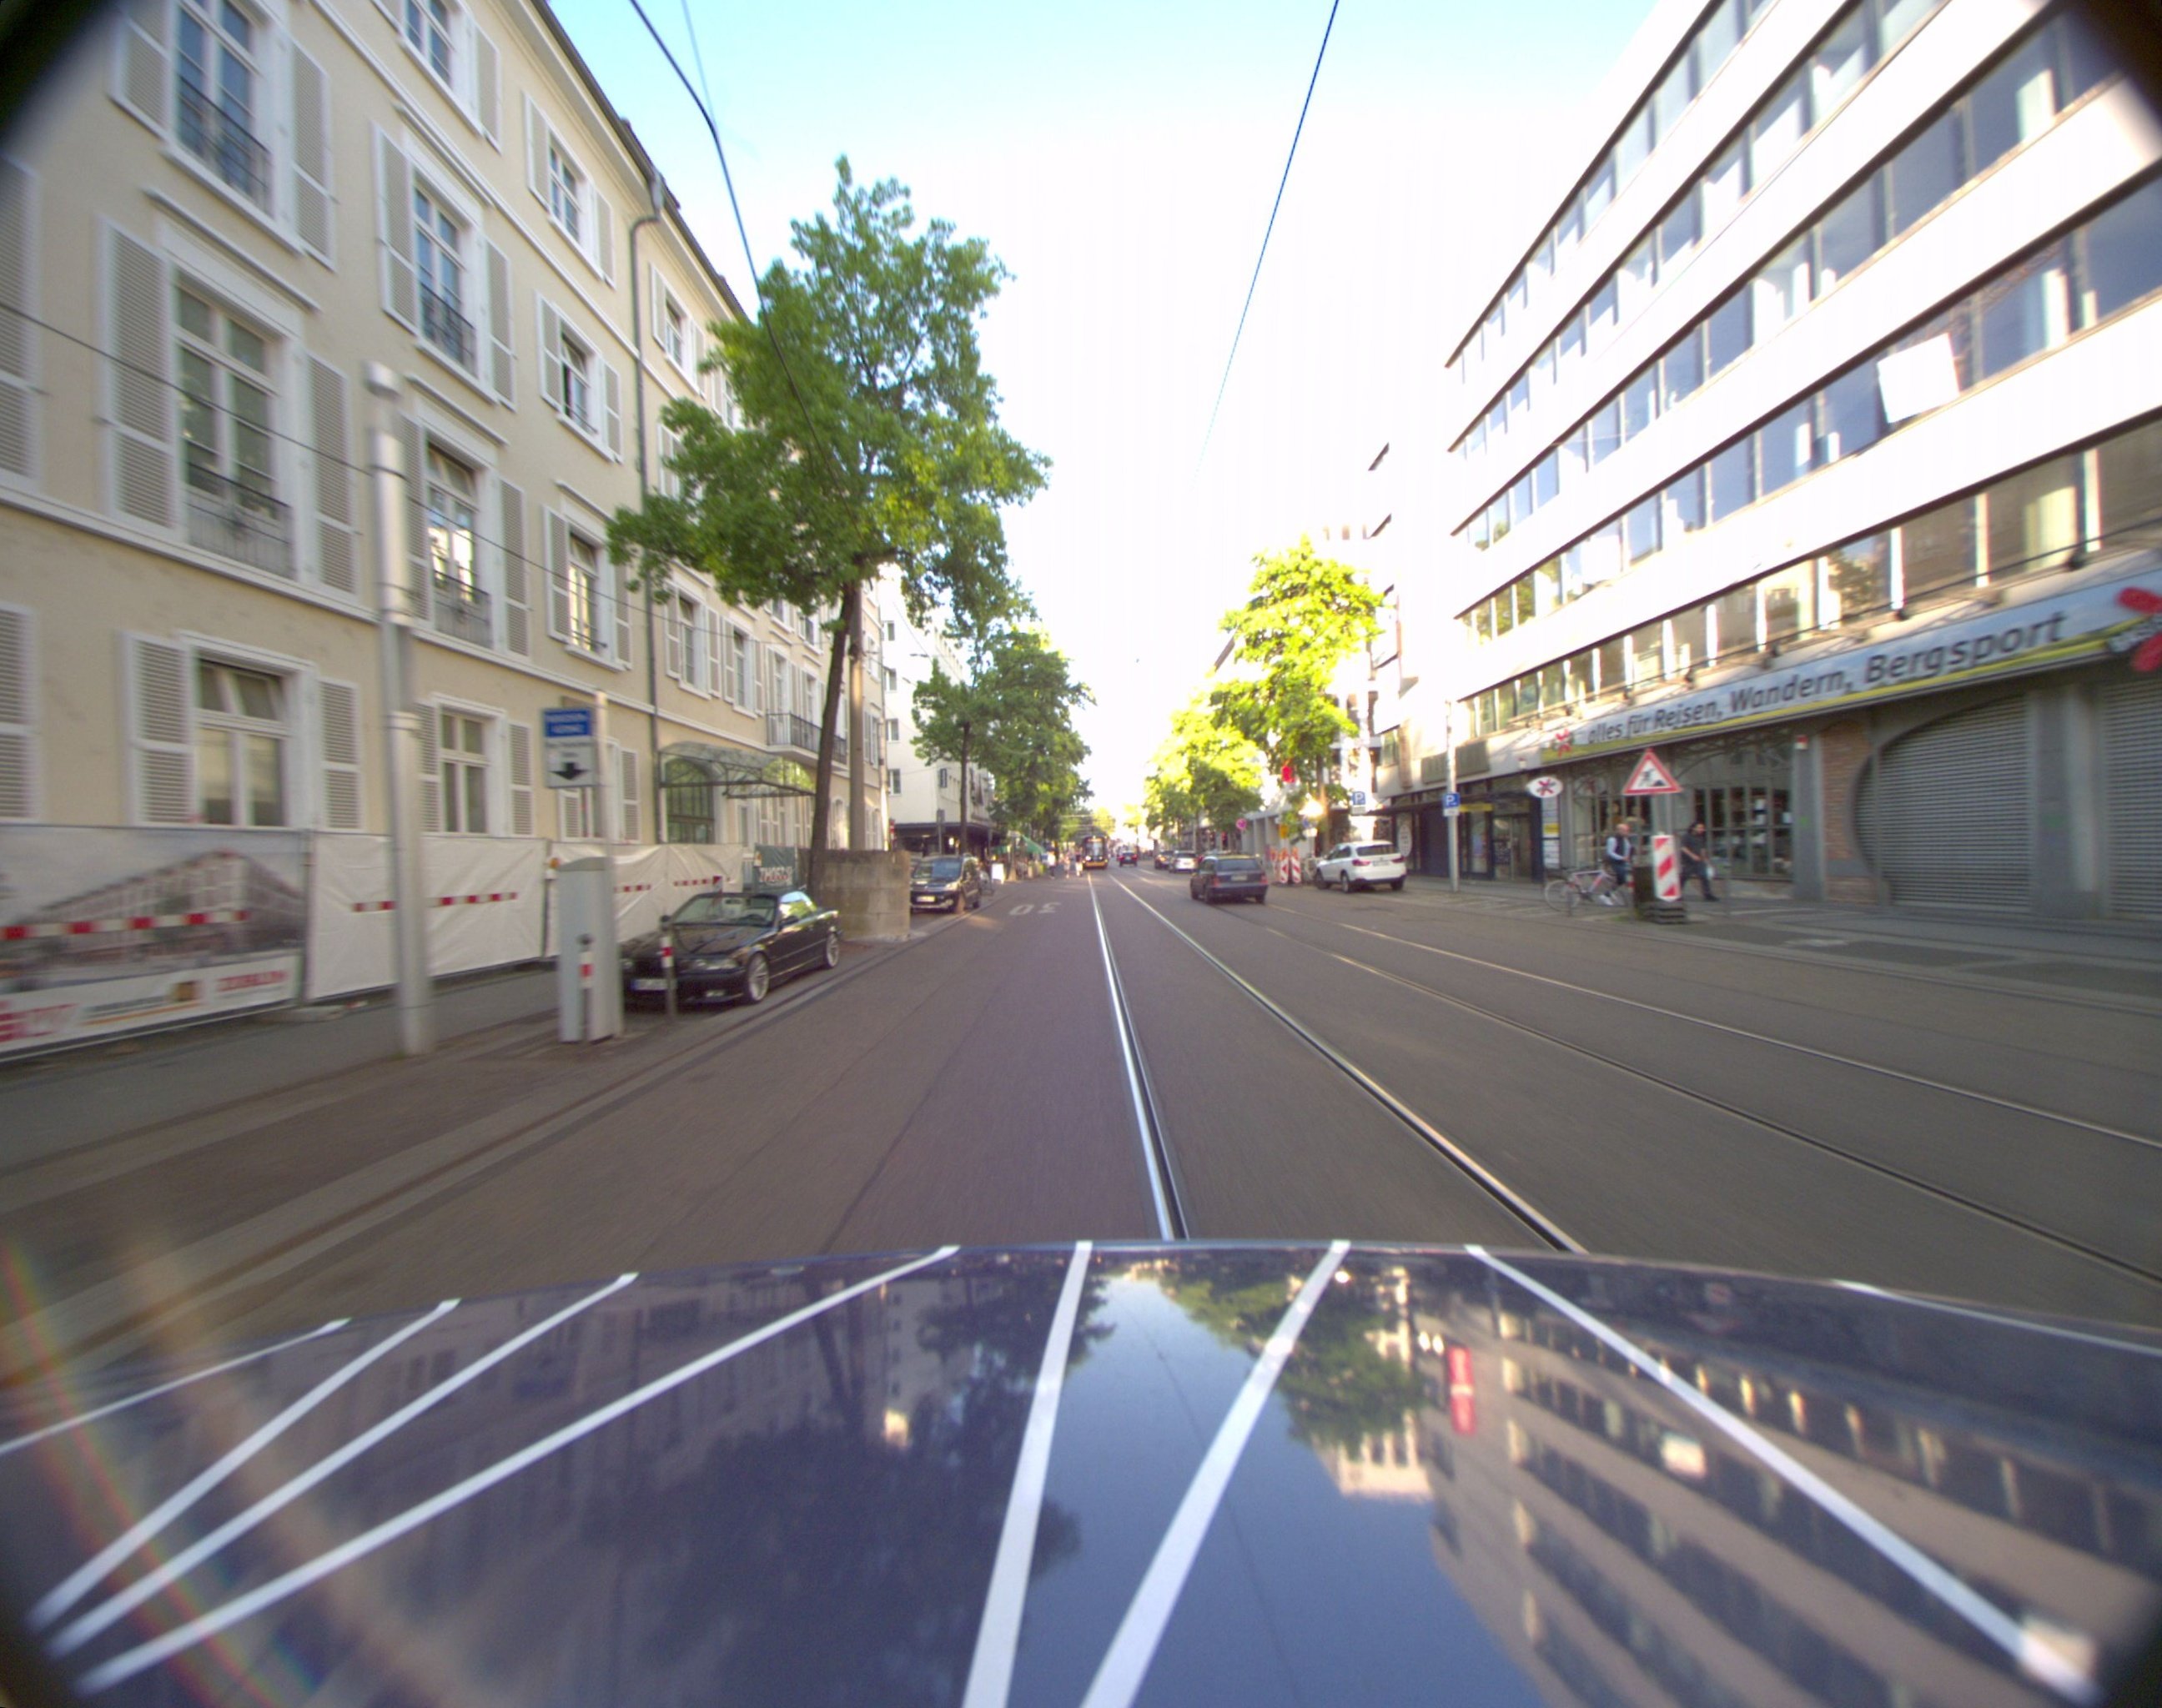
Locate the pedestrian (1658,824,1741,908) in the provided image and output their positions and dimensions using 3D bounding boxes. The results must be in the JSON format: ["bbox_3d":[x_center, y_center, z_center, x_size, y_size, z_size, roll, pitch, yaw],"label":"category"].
[{"bbox_3d":[13.231,0.242,16.281,0.834,1.685,1.037,-5,1,0],"label":"pedestrian"}]

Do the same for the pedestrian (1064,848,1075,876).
[{"bbox_3d":[-0.814,0.562,53.802,0.672,1.922,0.873,-2,0,2],"label":"pedestrian"}]

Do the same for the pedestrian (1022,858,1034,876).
[{"bbox_3d":[-3.910,0.947,56.104,0.716,1.321,0.624,-2,0,2],"label":"pedestrian"}]

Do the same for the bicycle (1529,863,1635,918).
[{"bbox_3d":[10.451,0.752,15.891,1.748,0.986,0.478,-5,0,8],"label":"bicycle"}]

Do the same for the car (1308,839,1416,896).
[{"bbox_3d":[9.906,0.443,27.218,1.999,1.744,4.744,-4,0,0],"label":"car"}]

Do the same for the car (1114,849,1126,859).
[{"bbox_3d":[7.509,0.052,145.521,1.999,1.871,3.999,-2,0,-1],"label":"car"}]

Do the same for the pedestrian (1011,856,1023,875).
[{"bbox_3d":[-4.564,0.847,54.166,0.716,1.321,0.624,-2,0,2],"label":"pedestrian"}]

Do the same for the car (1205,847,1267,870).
[{"bbox_3d":[11.858,0.329,58.015,4.320,1.404,1.576,-5,2,-18],"label":"car"}]

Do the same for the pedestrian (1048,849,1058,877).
[{"bbox_3d":[-1.965,0.616,53.684,0.598,1.922,0.873,-2,0,2],"label":"pedestrian"}]

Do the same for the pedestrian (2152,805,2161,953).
[{"bbox_3d":[12.640,0.273,8.317,0.628,1.703,0.807,-3,1,4],"label":"pedestrian"}]

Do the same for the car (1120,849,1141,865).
[{"bbox_3d":[5.594,0.317,86.213,2.039,1.677,4.200,-2,0,0],"label":"car"}]

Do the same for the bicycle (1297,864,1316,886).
[{"bbox_3d":[9.752,0.896,32.889,0.503,0.832,1.535,-4,1,6],"label":"bicycle"}]

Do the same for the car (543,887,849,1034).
[{"bbox_3d":[-4.657,1.203,10.048,1.798,1.304,4.329,0,1,1],"label":"car"}]

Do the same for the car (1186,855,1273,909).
[{"bbox_3d":[4.362,0.764,22.998,1.783,1.399,4.527,-2,0,1],"label":"car"}]

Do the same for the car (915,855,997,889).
[{"bbox_3d":[-6.758,0.976,41.338,3.937,1.600,1.867,-2,2,7],"label":"car"}]

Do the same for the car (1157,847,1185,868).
[{"bbox_3d":[8.004,0.322,68.062,2.039,1.796,4.200,-1,0,0],"label":"car"}]

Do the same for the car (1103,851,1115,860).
[{"bbox_3d":[5.756,0.237,157.294,2.218,1.849,3.999,-2,0,-1],"label":"car"}]

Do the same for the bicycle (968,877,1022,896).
[{"bbox_3d":[-3.643,1.366,32.298,1.753,0.744,1.566,0,1,18],"label":"bicycle"}]

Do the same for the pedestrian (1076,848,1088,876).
[{"bbox_3d":[0.071,0.535,53.629,0.772,1.922,0.873,-2,0,2],"label":"pedestrian"}]

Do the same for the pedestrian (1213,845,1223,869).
[{"bbox_3d":[10.810,0.236,59.963,0.656,1.922,0.723,-2,1,2],"label":"pedestrian"}]

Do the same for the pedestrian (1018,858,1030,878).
[{"bbox_3d":[-4.000,0.986,53.012,0.716,1.321,0.624,-2,0,2],"label":"pedestrian"}]

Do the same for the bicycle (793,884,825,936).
[{"bbox_3d":[-6.168,1.239,17.261,0.656,1.064,1.671,0,0,-19],"label":"bicycle"}]

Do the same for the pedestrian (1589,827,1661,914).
[{"bbox_3d":[11.389,0.338,15.935,0.853,1.756,0.832,-2,1,-2],"label":"pedestrian"}]

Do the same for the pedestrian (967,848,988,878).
[{"bbox_3d":[-6.522,0.565,47.881,0.945,1.805,1.071,-2,3,8],"label":"pedestrian"}]

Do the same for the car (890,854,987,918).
[{"bbox_3d":[-4.329,0.914,23.773,1.956,1.782,4.316,0,1,4],"label":"car"}]

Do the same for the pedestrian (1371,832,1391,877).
[{"bbox_3d":[13.742,0.013,34.798,0.616,2.002,0.592,-2,1,-1],"label":"pedestrian"}]

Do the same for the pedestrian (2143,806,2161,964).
[{"bbox_3d":[11.908,0.321,7.855,0.643,1.703,0.829,-3,1,4],"label":"pedestrian"}]

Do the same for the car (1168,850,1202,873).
[{"bbox_3d":[7.564,0.518,55.501,1.889,1.602,4.200,0,0,0],"label":"car"}]

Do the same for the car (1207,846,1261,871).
[{"bbox_3d":[11.122,0.342,55.228,3.404,1.551,1.785,-5,2,-30],"label":"car"}]

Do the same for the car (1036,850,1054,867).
[{"bbox_3d":[-4.086,0.453,85.809,2.003,1.831,4.966,0,1,-3],"label":"car"}]

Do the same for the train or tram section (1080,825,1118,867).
[{"bbox_3d":[1.812,-0.732,81.782,3.607,3.974,15.715,-2,0,1],"label":"train or tram section"}]

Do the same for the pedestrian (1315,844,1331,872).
[{"bbox_3d":[14.362,0.241,45.088,0.725,1.636,0.611,-2,1,2],"label":"pedestrian"}]
